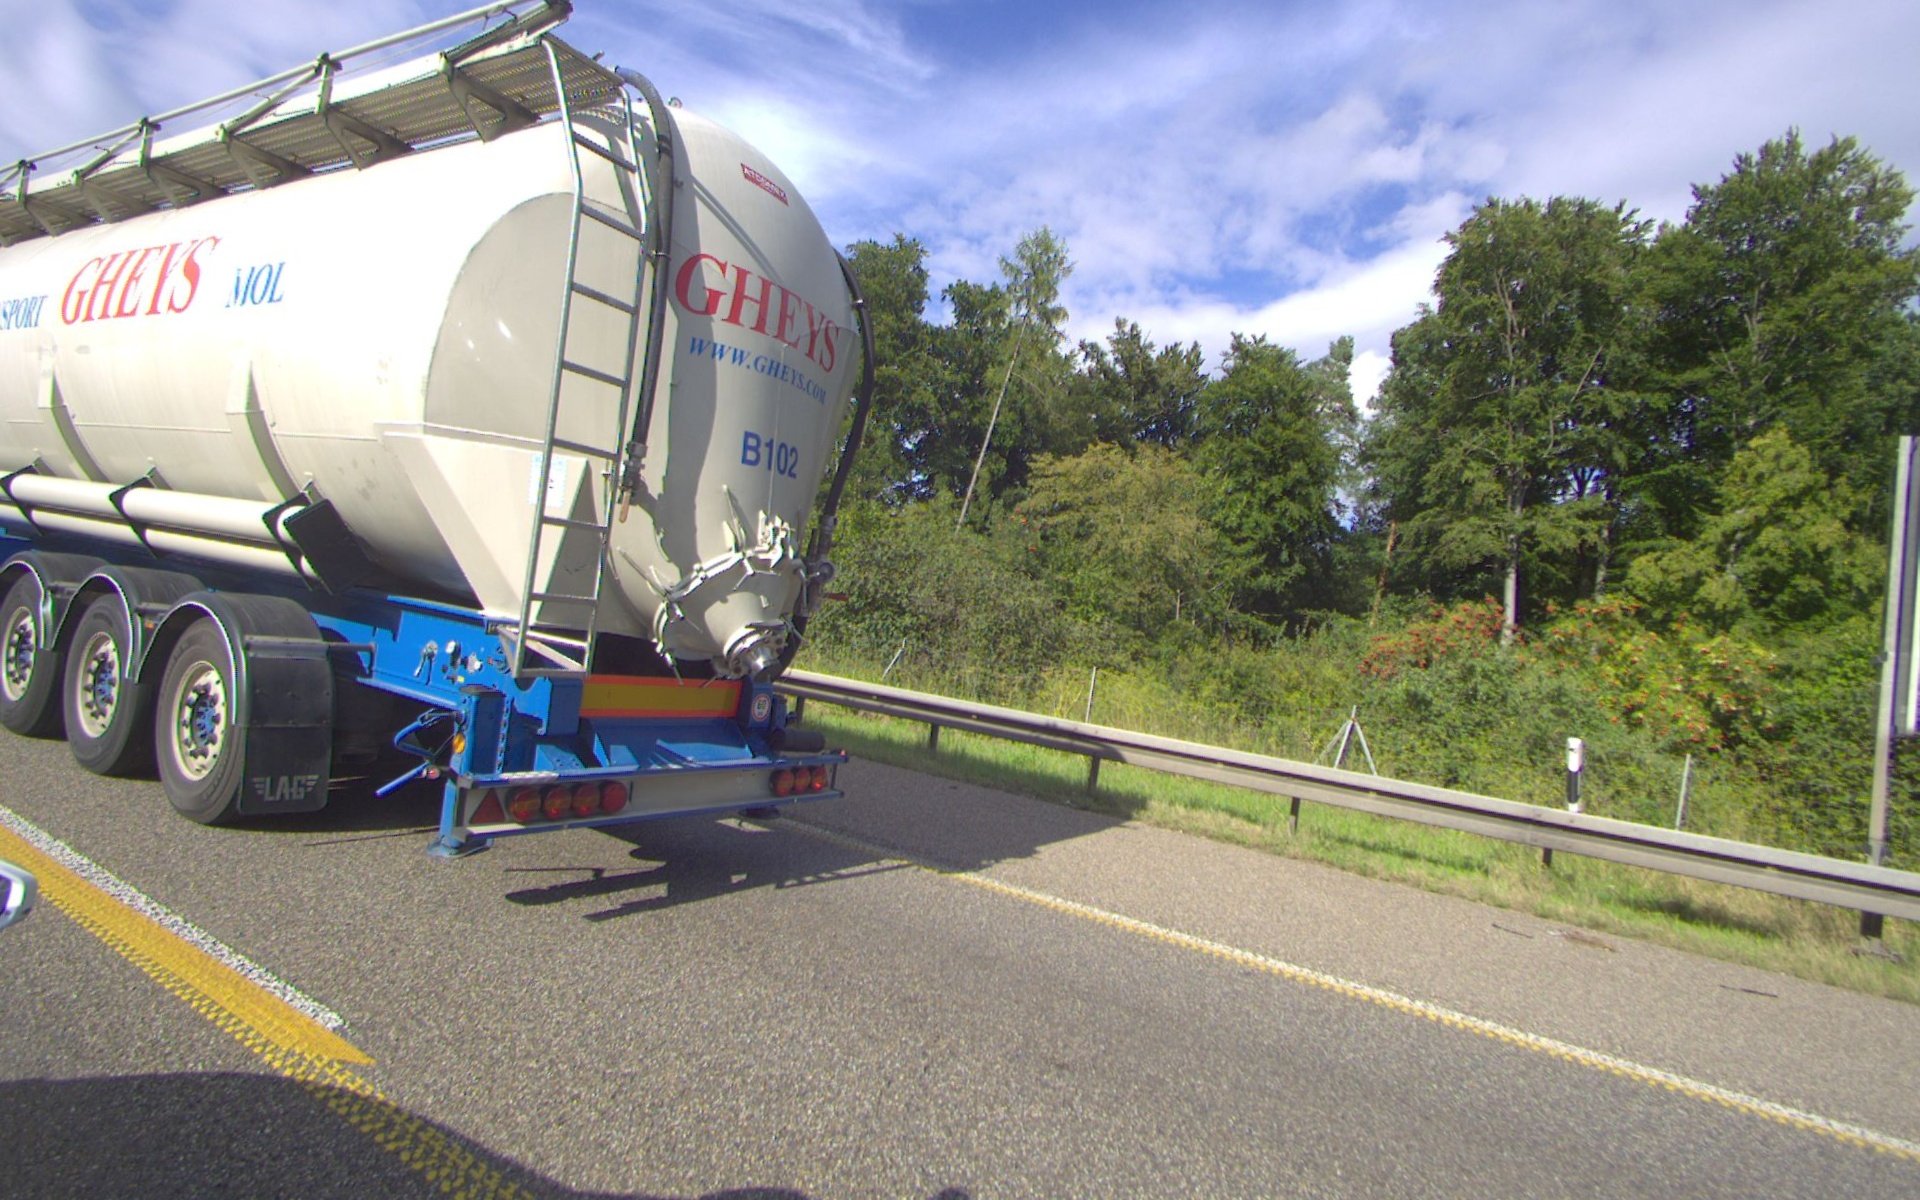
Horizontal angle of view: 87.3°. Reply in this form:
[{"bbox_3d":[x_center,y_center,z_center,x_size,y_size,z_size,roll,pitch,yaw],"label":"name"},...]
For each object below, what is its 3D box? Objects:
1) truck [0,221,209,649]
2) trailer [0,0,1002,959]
[{"bbox_3d":[-11.622,-1.848,11.457,5.683,4.018,2.664,6,-2,32],"label":"truck"},{"bbox_3d":[-5.904,-1.225,7.853,12.389,3.989,2.649,7,-1,32],"label":"trailer"}]
